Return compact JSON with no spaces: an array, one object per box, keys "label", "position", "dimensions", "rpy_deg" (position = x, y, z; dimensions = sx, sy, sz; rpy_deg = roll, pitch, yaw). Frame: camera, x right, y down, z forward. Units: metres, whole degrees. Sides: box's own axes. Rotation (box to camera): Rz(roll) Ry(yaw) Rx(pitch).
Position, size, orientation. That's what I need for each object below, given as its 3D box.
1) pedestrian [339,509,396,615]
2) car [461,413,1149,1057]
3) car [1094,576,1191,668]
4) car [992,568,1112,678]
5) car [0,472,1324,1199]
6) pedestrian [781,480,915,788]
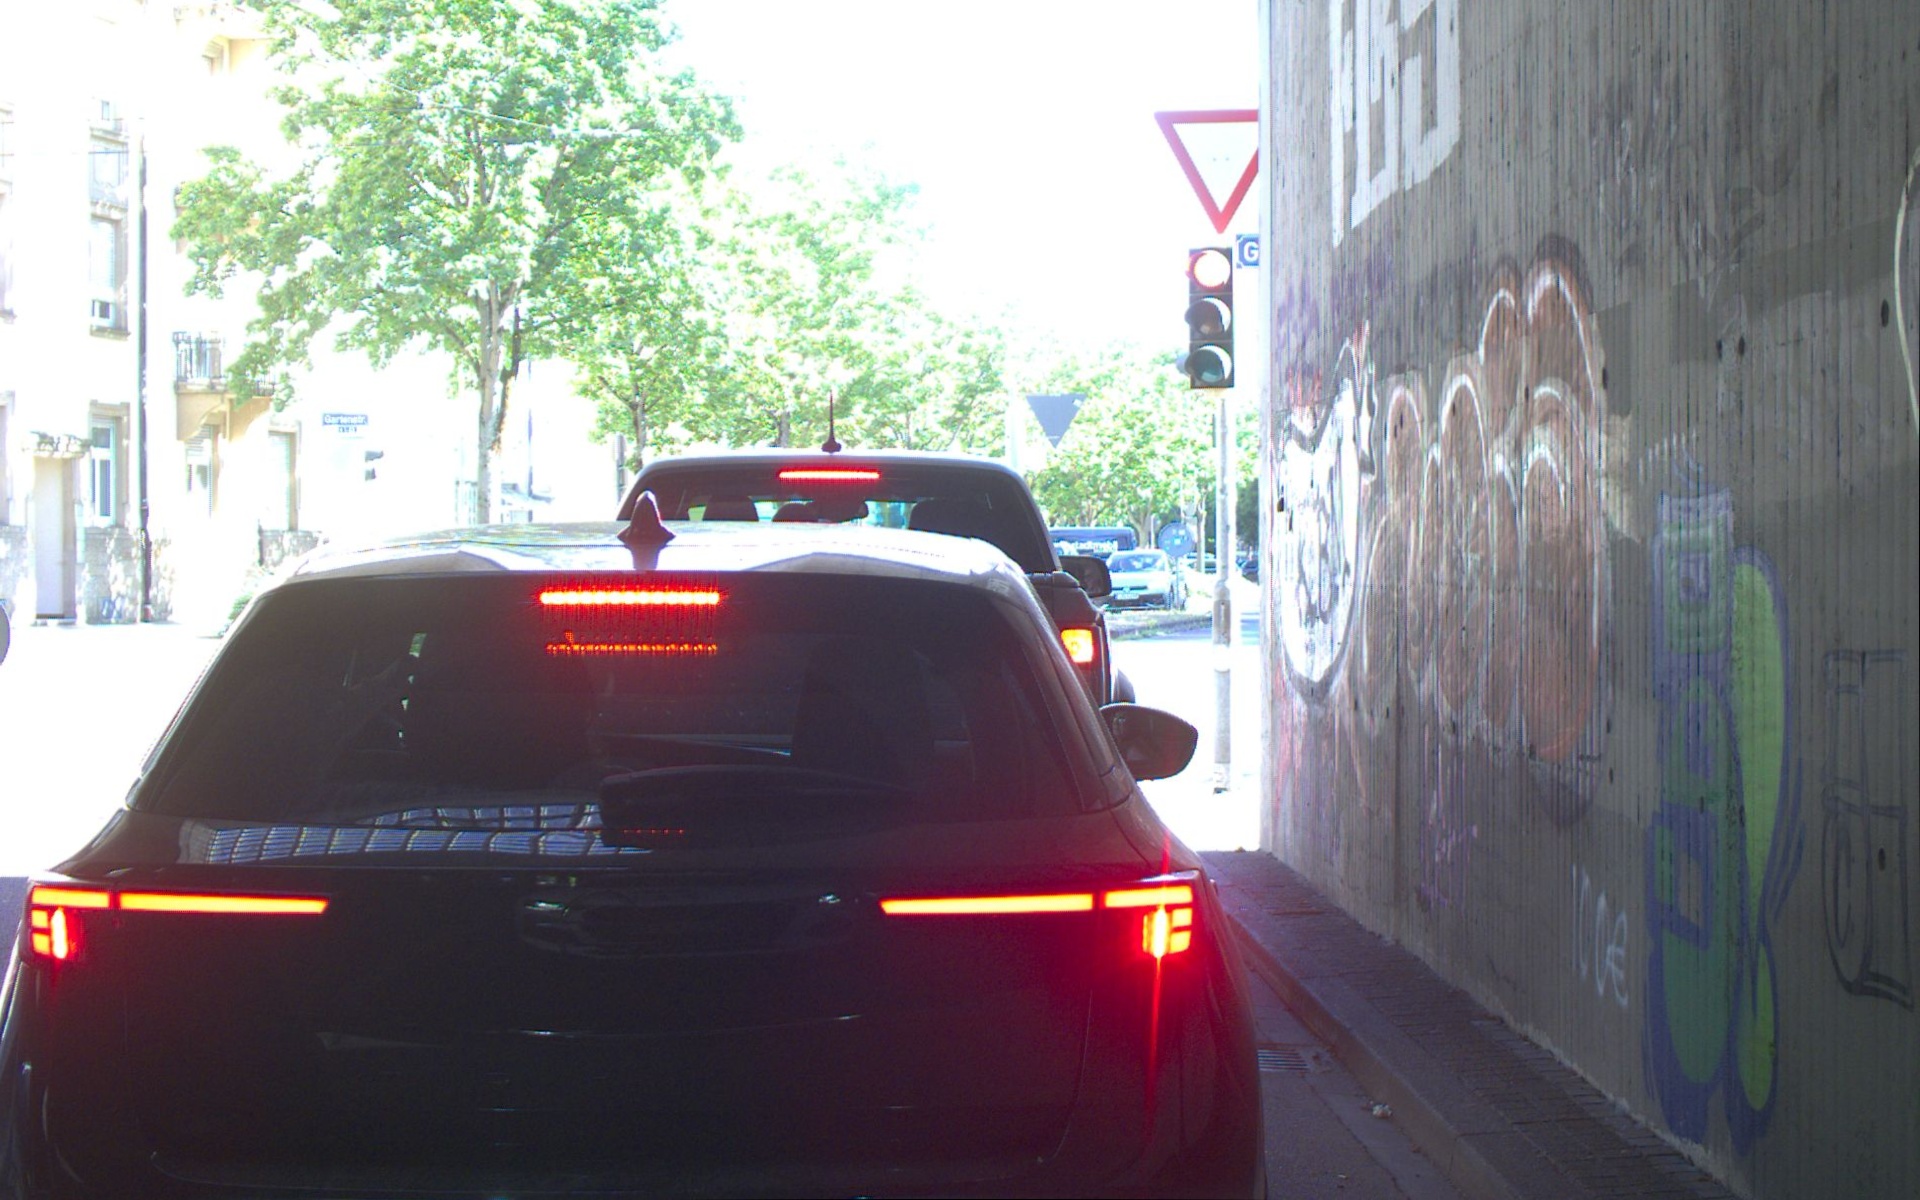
[{"label":"pedestrian","position":[-11.825,-0.756,68.590],"dimensions":[0.892,2.080,0.808],"rpy_deg":[1,0,7]},{"label":"car","position":[-0.472,0.356,12.034],"dimensions":[1.993,1.865,4.000],"rpy_deg":[0,1,-1]},{"label":"car","position":[4.077,0.462,76.299],"dimensions":[1.994,1.963,4.163],"rpy_deg":[1,1,5]},{"label":"car","position":[1.752,0.392,64.308],"dimensions":[1.994,1.963,4.163],"rpy_deg":[1,1,5]},{"label":"car","position":[-0.488,0.570,6.060],"dimensions":[1.764,1.566,4.001],"rpy_deg":[1,2,-1]},{"label":"pedestrian","position":[-0.639,0.189,19.835],"dimensions":[0.731,1.728,0.874],"rpy_deg":[1,0,-1]}]
